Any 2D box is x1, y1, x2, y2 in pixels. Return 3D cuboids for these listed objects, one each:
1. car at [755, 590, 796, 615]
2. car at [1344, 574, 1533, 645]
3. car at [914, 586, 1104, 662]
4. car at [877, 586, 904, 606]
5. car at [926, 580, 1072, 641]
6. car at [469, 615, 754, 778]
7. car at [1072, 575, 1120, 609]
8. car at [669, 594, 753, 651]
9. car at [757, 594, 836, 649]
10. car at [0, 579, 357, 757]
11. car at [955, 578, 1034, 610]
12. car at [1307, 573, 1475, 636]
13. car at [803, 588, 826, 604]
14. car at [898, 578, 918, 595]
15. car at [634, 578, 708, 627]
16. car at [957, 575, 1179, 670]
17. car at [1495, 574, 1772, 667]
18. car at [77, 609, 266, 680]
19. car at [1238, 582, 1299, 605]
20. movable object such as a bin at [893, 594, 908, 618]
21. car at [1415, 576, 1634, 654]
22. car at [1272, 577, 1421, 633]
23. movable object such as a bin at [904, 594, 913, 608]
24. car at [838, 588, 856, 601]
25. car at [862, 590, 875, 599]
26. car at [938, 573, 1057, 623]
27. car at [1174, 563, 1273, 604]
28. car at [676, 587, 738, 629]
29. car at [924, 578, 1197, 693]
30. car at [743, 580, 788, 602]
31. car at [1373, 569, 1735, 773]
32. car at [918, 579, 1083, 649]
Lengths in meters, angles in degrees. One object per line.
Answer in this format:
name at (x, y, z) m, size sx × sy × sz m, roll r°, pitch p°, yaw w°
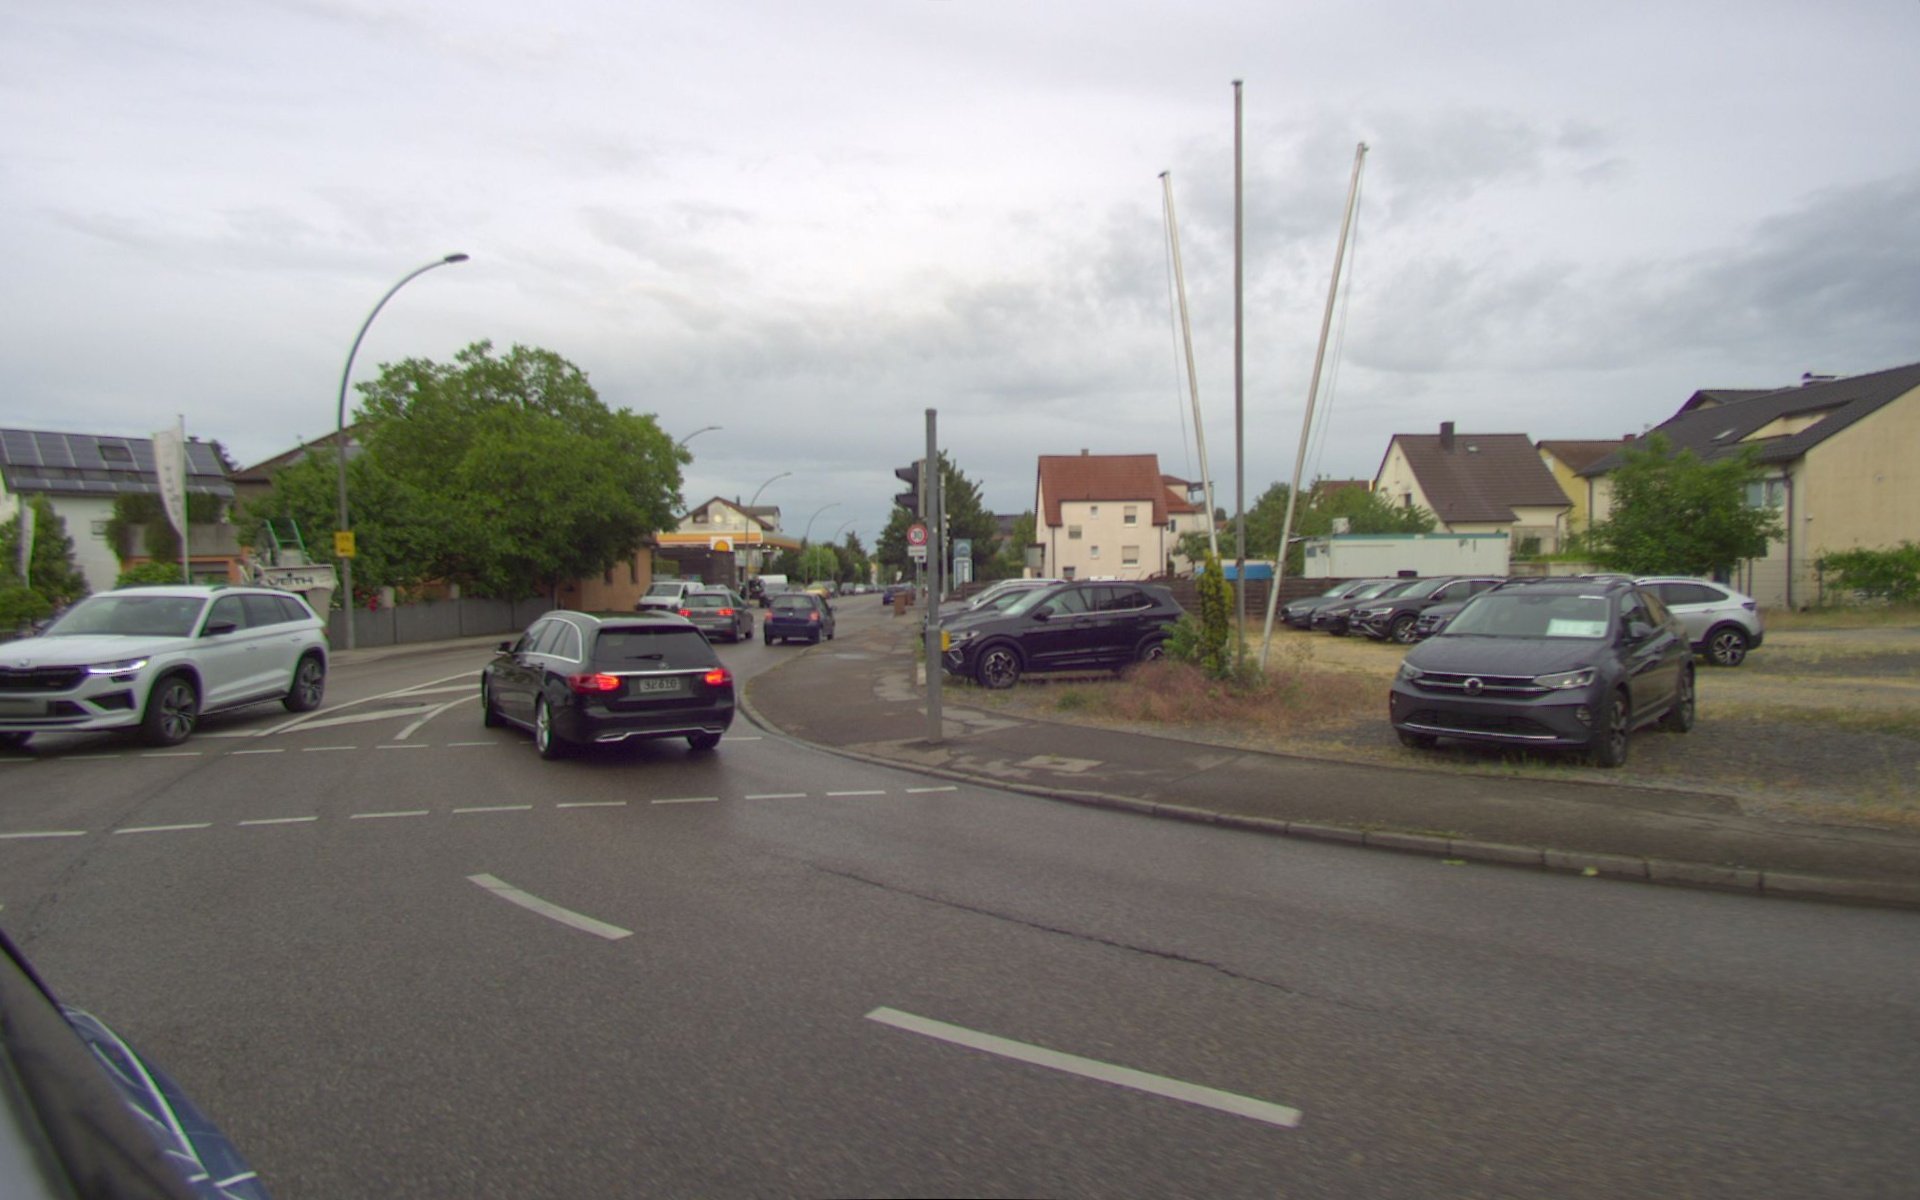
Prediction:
car at (-13.033, 0.167, 71.724) m, size 2.069 × 1.674 × 4.558 m, roll -2°, pitch 0°, yaw 0°
car at (11.054, 0.213, 23.489) m, size 3.588 × 1.439 × 1.594 m, roll -2°, pitch 0°, yaw -5°
car at (1.041, 0.505, 22.176) m, size 3.947 × 1.452 × 1.802 m, roll -2°, pitch 0°, yaw 3°
car at (-5.148, -0.321, 75.585) m, size 1.787 × 1.413 × 3.945 m, roll 0°, pitch 1°, yaw -1°
car at (1.094, 0.282, 28.648) m, size 3.947 × 1.555 × 1.802 m, roll -2°, pitch 0°, yaw 3°
car at (-3.995, 0.878, 11.107) m, size 1.684 × 1.402 × 4.359 m, roll 0°, pitch -1°, yaw -37°
car at (8.231, -0.493, 61.597) m, size 1.970 × 1.945 × 5.057 m, roll 0°, pitch 1°, yaw -3°
car at (-7.240, 0.681, 29.762) m, size 1.703 × 1.467 × 4.003 m, roll -3°, pitch -1°, yaw -4°
car at (-4.680, 0.589, 29.411) m, size 1.609 × 1.444 × 3.682 m, roll -1°, pitch 1°, yaw 1°
car at (-9.230, 0.635, 11.934) m, size 1.856 × 1.673 × 4.838 m, roll 0°, pitch 0°, yaw -7°
car at (2.048, -0.368, 60.693) m, size 4.503 × 1.803 × 1.900 m, roll -1°, pitch 1°, yaw -4°
car at (11.075, 0.125, 26.191) m, size 3.596 × 1.439 × 1.591 m, roll -2°, pitch 0°, yaw 3°
car at (-13.462, -0.381, 93.773) m, size 1.638 × 1.412 × 3.802 m, roll -1°, pitch 1°, yaw -1°
car at (-4.429, -1.178, 85.899) m, size 1.529 × 1.413 × 3.597 m, roll 0°, pitch 1°, yaw -1°
car at (-12.861, 0.107, 45.265) m, size 1.759 × 2.044 × 4.751 m, roll -2°, pitch 0°, yaw 2°
car at (1.927, 0.407, 18.974) m, size 3.904 × 1.542 × 1.691 m, roll -2°, pitch 0°, yaw 0°
car at (11.651, 0.342, 17.681) m, size 3.722 × 1.475 × 1.590 m, roll 1°, pitch 0°, yaw 2°
car at (-23.414, 1.289, 30.175) m, size 4.080 × 1.884 × 1.999 m, roll -2°, pitch 0°, yaw 2°
car at (18.438, -0.388, 60.548) m, size 3.186 × 1.343 × 1.339 m, roll -1°, pitch 1°, yaw -2°
movable object such as a bin at (-2.942, 0.288, 50.106) m, size 0.700 × 1.138 × 0.735 m, roll -2°, pitch 1°, yaw 0°
car at (11.361, 0.296, 20.489) m, size 3.588 × 1.385 × 1.520 m, roll -2°, pitch 0°, yaw -5°
car at (11.020, 0.145, 28.994) m, size 3.595 × 1.439 × 1.591 m, roll -2°, pitch 0°, yaw 2°
movable object such as a bin at (-3.589, 0.046, 70.194) m, size 0.534 × 0.917 × 0.425 m, roll -4°, pitch 1°, yaw -1°
car at (-14.034, -0.668, 125.666) m, size 1.971 × 1.608 × 4.002 m, roll 0°, pitch 0°, yaw -2°
car at (-14.584, -0.849, 161.210) m, size 1.732 × 1.429 × 4.110 m, roll 0°, pitch 0°, yaw -1°
car at (1.362, -0.077, 37.723) m, size 4.301 × 1.704 × 2.058 m, roll -1°, pitch 1°, yaw 1°
car at (16.396, -1.023, 63.146) m, size 5.608 × 2.392 × 2.047 m, roll -2°, pitch 1°, yaw 0°
car at (-10.289, 0.288, 41.380) m, size 1.752 × 1.573 × 4.004 m, roll -2°, pitch 0°, yaw -4°
car at (1.508, 0.517, 15.822) m, size 3.895 × 1.542 × 1.626 m, roll -2°, pitch 0°, yaw -10°
car at (-22.575, -1.034, 117.432) m, size 4.721 × 2.539 × 2.255 m, roll -1°, pitch 0°, yaw -22°
car at (5.644, 0.558, 9.424) m, size 3.921 × 1.502 × 1.759 m, roll 0°, pitch -2°, yaw -42°
car at (0.998, 0.335, 25.447) m, size 3.947 × 1.555 × 1.802 m, roll -2°, pitch 0°, yaw 3°
